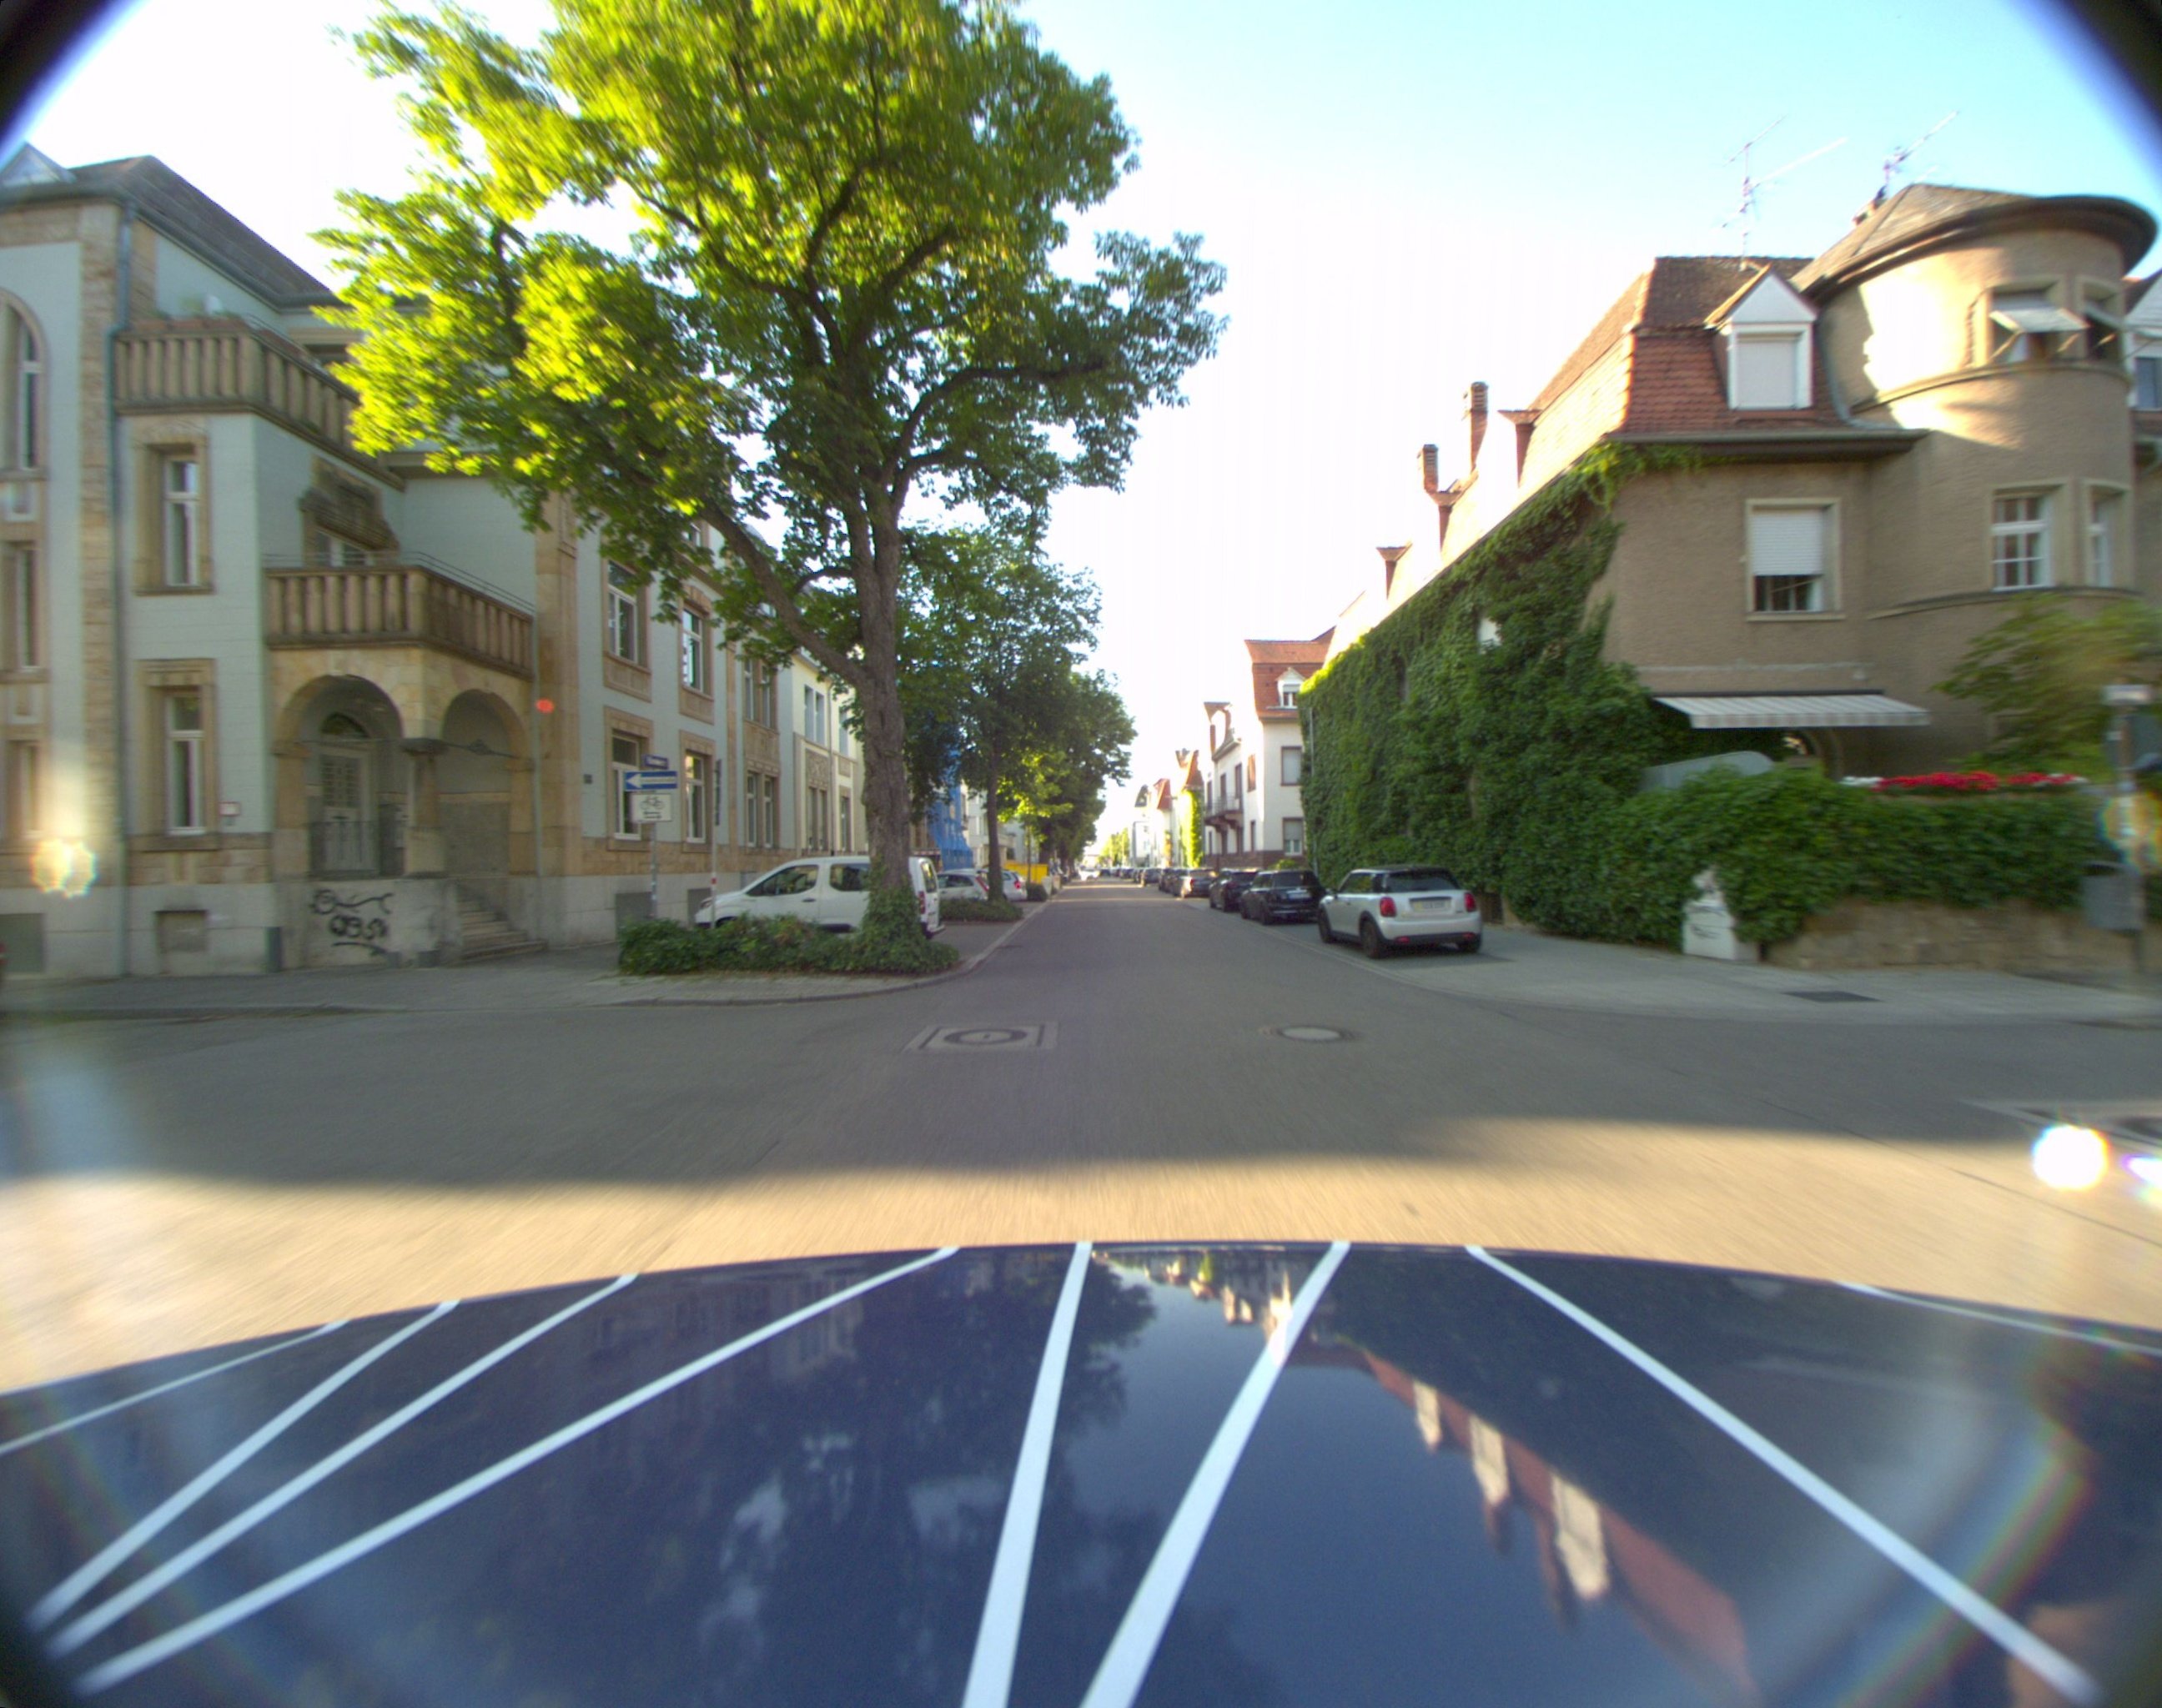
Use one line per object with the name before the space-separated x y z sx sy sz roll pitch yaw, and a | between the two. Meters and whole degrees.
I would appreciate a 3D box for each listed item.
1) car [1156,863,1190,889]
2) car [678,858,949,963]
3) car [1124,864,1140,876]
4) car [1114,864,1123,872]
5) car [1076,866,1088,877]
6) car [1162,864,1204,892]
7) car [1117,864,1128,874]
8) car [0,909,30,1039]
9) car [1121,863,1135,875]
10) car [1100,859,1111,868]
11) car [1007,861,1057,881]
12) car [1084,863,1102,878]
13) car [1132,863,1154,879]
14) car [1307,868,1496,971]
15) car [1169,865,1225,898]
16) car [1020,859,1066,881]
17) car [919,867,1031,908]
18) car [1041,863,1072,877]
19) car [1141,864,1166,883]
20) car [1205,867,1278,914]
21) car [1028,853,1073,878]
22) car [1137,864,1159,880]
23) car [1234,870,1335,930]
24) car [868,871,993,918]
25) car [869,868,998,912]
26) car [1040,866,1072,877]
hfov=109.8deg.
car | 5.683 1.337 47.255 1.657 1.477 3.765 -2 -1 1
car | -4.817 0.996 14.172 4.325 1.796 2.000 0 -1 0
car | 6.319 1.982 94.934 1.657 1.445 4.631 -2 -1 1
car | 7.333 2.678 147.949 1.723 1.386 3.909 -3 -1 2
car | 0.205 3.133 134.888 1.999 1.873 4.000 -1 -1 0
car | 5.688 1.303 42.787 1.658 1.438 3.844 -2 -1 -2
car | 6.507 2.391 119.453 1.654 1.474 3.430 -3 -1 2
car | -14.294 1.364 7.975 4.167 1.467 1.656 -1 -2 0
car | 6.465 2.054 105.057 1.585 1.511 3.707 -2 -1 -1
car | 4.161 1.679 129.020 1.776 1.440 4.001 0 -1 0
car | -4.243 1.478 66.348 4.343 1.673 1.705 0 -1 -2
car | 1.450 2.007 93.318 2.098 1.700 4.607 -1 -1 1
car | 6.218 1.679 76.506 1.714 1.461 4.634 -2 -1 -1
car | 5.354 1.015 13.279 1.708 1.452 3.918 -2 -1 2
car | 5.548 1.286 36.794 1.797 1.452 4.777 -2 -1 -2
car | -3.685 1.574 74.418 4.481 2.001 1.896 -1 0 -1
car | -4.173 1.310 30.200 4.154 1.525 1.687 0 -1 3
car | -3.392 2.265 106.887 4.313 1.874 1.758 -1 0 -2
car | 5.829 1.540 61.175 1.657 1.438 4.005 -2 -1 1
car | 5.389 1.180 25.951 1.653 1.412 4.099 -2 -1 1
car | -3.515 1.312 87.740 5.109 2.885 2.076 0 -1 -2
car | 6.216 1.651 71.216 1.658 1.406 4.168 -2 -1 0
car | 5.312 1.149 20.286 1.690 1.371 3.721 -2 -1 1
car | -4.930 1.313 25.237 3.757 1.454 1.734 0 -1 0
car | -5.318 1.296 27.794 4.325 1.525 1.828 0 -1 0
car | -3.444 2.430 104.905 4.313 1.531 1.759 -1 -1 -2
